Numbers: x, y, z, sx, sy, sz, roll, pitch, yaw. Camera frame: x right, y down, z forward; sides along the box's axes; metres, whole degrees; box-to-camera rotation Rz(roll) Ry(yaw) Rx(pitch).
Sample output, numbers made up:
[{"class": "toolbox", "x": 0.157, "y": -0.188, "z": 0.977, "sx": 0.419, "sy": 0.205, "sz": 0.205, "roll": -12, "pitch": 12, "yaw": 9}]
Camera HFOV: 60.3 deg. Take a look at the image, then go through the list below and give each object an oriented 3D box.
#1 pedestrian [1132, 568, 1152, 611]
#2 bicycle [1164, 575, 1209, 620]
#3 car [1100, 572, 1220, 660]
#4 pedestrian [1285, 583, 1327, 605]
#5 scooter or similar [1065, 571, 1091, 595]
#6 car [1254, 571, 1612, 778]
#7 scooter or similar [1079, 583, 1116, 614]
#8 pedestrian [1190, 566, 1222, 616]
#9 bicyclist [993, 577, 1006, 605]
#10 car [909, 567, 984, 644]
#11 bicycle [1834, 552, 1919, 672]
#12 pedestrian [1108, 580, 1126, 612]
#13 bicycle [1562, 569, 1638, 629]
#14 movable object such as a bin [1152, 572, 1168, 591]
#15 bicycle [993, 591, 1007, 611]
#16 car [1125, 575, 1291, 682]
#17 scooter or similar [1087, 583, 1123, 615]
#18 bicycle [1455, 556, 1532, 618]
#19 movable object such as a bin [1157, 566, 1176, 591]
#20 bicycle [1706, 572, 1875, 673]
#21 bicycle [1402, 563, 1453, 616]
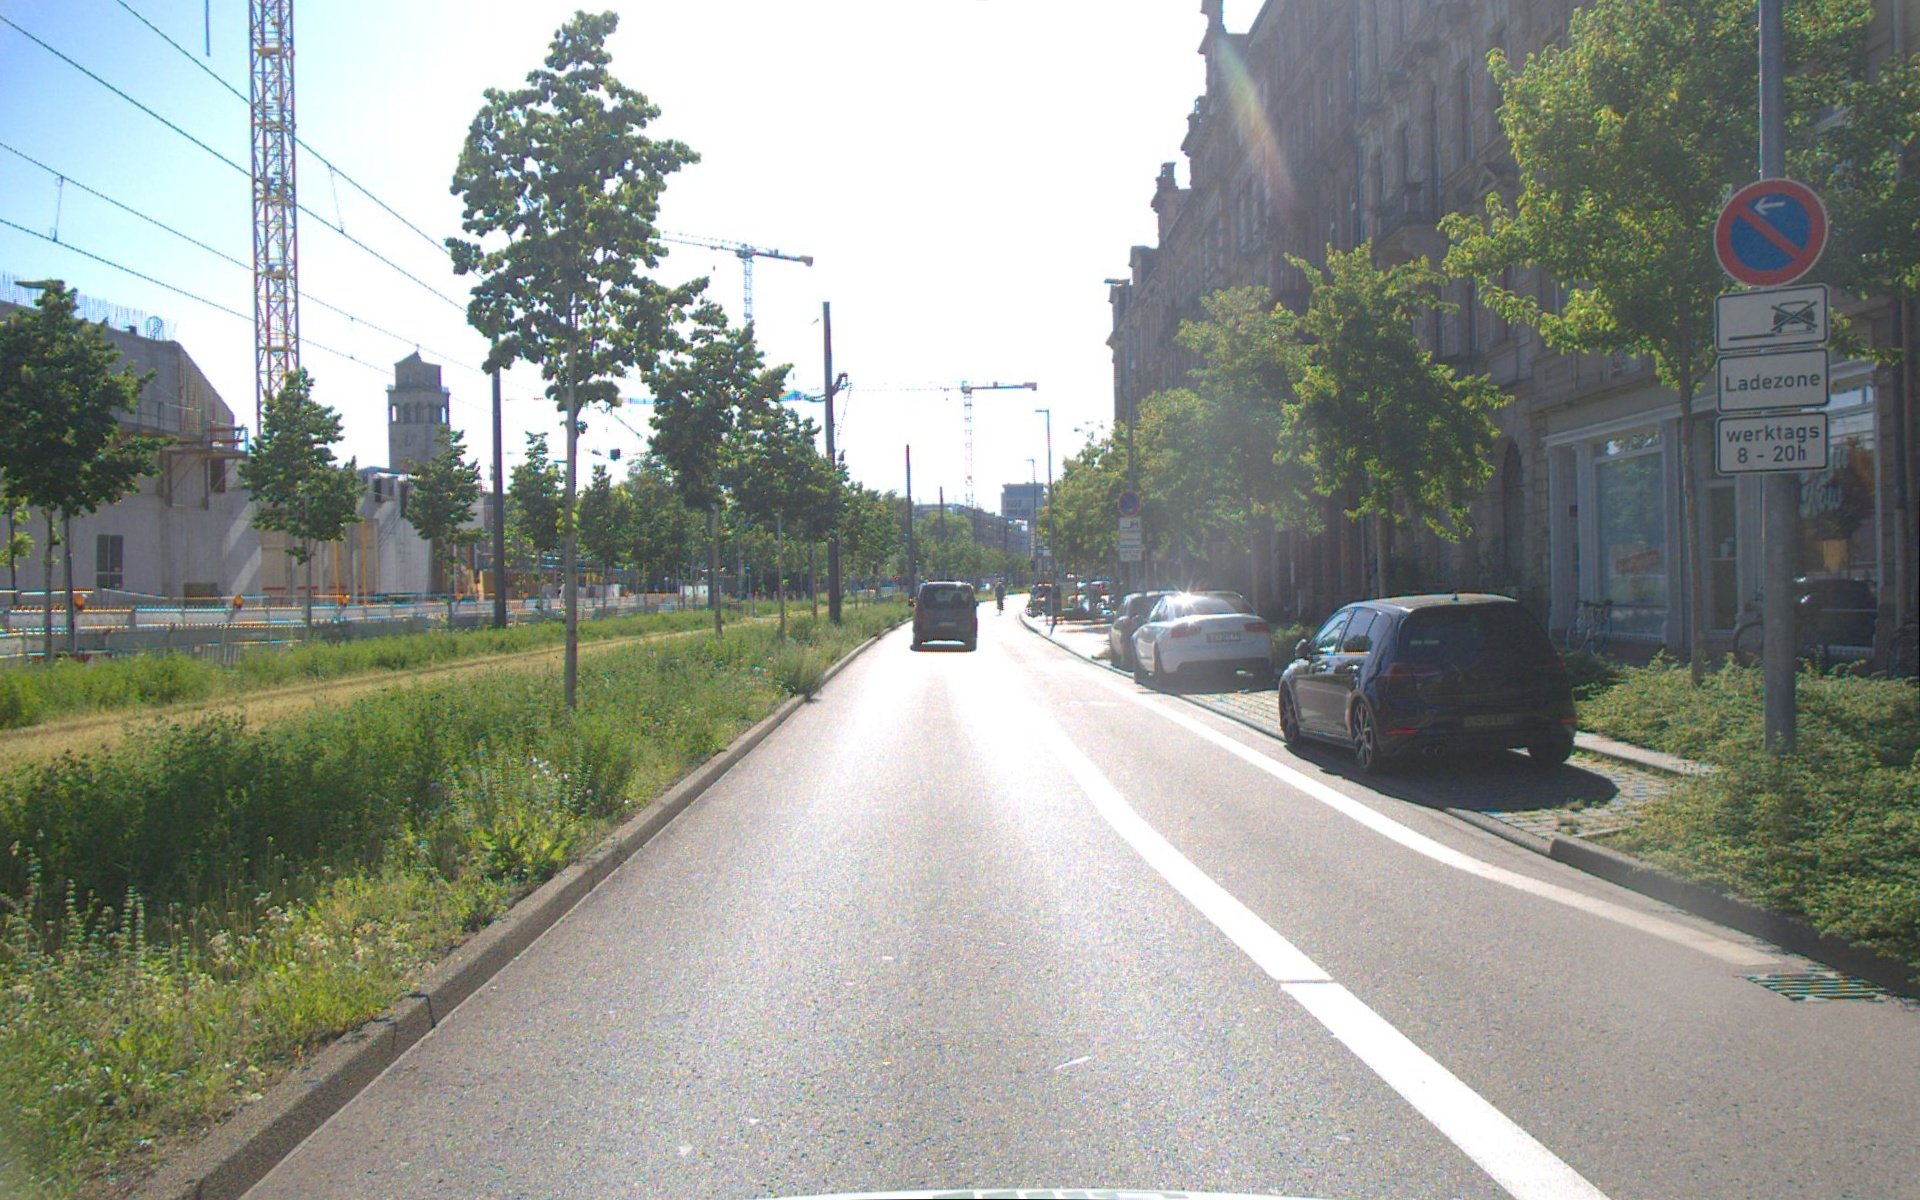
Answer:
[{"class": "pedestrian", "x": 8.760, "y": -0.490, "z": 79.756, "sx": 0.801, "sy": 2.049, "sz": 1.046, "roll": -1, "pitch": -2, "yaw": -1}, {"class": "bicycle", "x": 6.094, "y": -0.064, "z": 44.645, "sx": 0.638, "sy": 1.139, "sz": 2.169, "roll": -3, "pitch": 0, "yaw": -6}, {"class": "car", "x": 4.123, "y": 0.301, "z": 34.743, "sx": 1.846, "sy": 1.596, "sz": 4.219, "roll": -4, "pitch": 0, "yaw": -1}, {"class": "pedestrian", "x": 10.171, "y": -0.190, "z": 48.712, "sx": 0.757, "sy": 0.562, "sz": 2.007, "roll": -2, "pitch": 1, "yaw": -1}, {"class": "scooter or similar", "x": 5.878, "y": -0.854, "z": 82.547, "sx": 1.194, "sy": 1.125, "sz": 0.783, "roll": -3, "pitch": 1, "yaw": 2}, {"class": "car", "x": 4.143, "y": 0.582, "z": 15.300, "sx": 1.731, "sy": 1.502, "sz": 4.446, "roll": -4, "pitch": 0, "yaw": -3}, {"class": "scooter or similar", "x": 6.049, "y": -0.051, "z": 72.586, "sx": 1.447, "sy": 1.237, "sz": 0.600, "roll": -4, "pitch": 2, "yaw": -11}, {"class": "pedestrian", "x": 8.725, "y": -0.328, "z": 58.580, "sx": 0.976, "sy": 1.761, "sz": 0.866, "roll": -1, "pitch": 0, "yaw": -1}, {"class": "bicyclist", "x": 2.297, "y": -0.540, "z": 95.685, "sx": 0.669, "sy": 1.612, "sz": 0.839, "roll": -1, "pitch": 1, "yaw": -1}, {"class": "car", "x": -0.416, "y": 0.137, "z": 46.688, "sx": 1.954, "sy": 2.049, "sz": 3.998, "roll": -1, "pitch": 0, "yaw": -3}, {"class": "bicycle", "x": 10.224, "y": 0.105, "z": 17.685, "sx": 0.733, "sy": 1.222, "sz": 1.800, "roll": -3, "pitch": 0, "yaw": -1}, {"class": "pedestrian", "x": 8.713, "y": -0.232, "z": 91.969, "sx": 0.827, "sy": 1.772, "sz": 0.886, "roll": -3, "pitch": 0, "yaw": 0}, {"class": "bicycle", "x": 10.556, "y": -0.035, "z": 27.345, "sx": 0.438, "sy": 0.961, "sz": 2.012, "roll": -1, "pitch": 1, "yaw": -1}, {"class": "movable object such as a bin", "x": 9.708, "y": -0.904, "z": 80.294, "sx": 0.592, "sy": 0.932, "sz": 0.650, "roll": -2, "pitch": 1, "yaw": -5}, {"class": "bicycle", "x": 2.311, "y": 0.044, "z": 95.703, "sx": 0.687, "sy": 1.110, "sz": 2.277, "roll": -1, "pitch": 1, "yaw": -1}, {"class": "car", "x": 4.078, "y": 0.400, "z": 28.006, "sx": 1.912, "sy": 1.521, "sz": 5.104, "roll": -4, "pitch": 1, "yaw": -1}, {"class": "scooter or similar", "x": 6.290, "y": -0.051, "z": 71.832, "sx": 1.445, "sy": 1.237, "sz": 0.601, "roll": -4, "pitch": 2, "yaw": -5}, {"class": "bicycle", "x": 10.257, "y": -0.259, "z": 31.885, "sx": 0.706, "sy": 1.109, "sz": 2.198, "roll": -3, "pitch": 1, "yaw": -1}, {"class": "movable object such as a bin", "x": 9.653, "y": -1.009, "z": 77.226, "sx": 0.711, "sy": 1.117, "sz": 0.747, "roll": -2, "pitch": 1, "yaw": -5}, {"class": "bicycle", "x": 10.368, "y": 0.251, "z": 20.756, "sx": 0.858, "sy": 1.124, "sz": 2.180, "roll": -5, "pitch": 1, "yaw": -4}, {"class": "bicycle", "x": 10.233, "y": -0.236, "z": 36.230, "sx": 0.471, "sy": 1.109, "sz": 2.057, "roll": -3, "pitch": 1, "yaw": -1}]
